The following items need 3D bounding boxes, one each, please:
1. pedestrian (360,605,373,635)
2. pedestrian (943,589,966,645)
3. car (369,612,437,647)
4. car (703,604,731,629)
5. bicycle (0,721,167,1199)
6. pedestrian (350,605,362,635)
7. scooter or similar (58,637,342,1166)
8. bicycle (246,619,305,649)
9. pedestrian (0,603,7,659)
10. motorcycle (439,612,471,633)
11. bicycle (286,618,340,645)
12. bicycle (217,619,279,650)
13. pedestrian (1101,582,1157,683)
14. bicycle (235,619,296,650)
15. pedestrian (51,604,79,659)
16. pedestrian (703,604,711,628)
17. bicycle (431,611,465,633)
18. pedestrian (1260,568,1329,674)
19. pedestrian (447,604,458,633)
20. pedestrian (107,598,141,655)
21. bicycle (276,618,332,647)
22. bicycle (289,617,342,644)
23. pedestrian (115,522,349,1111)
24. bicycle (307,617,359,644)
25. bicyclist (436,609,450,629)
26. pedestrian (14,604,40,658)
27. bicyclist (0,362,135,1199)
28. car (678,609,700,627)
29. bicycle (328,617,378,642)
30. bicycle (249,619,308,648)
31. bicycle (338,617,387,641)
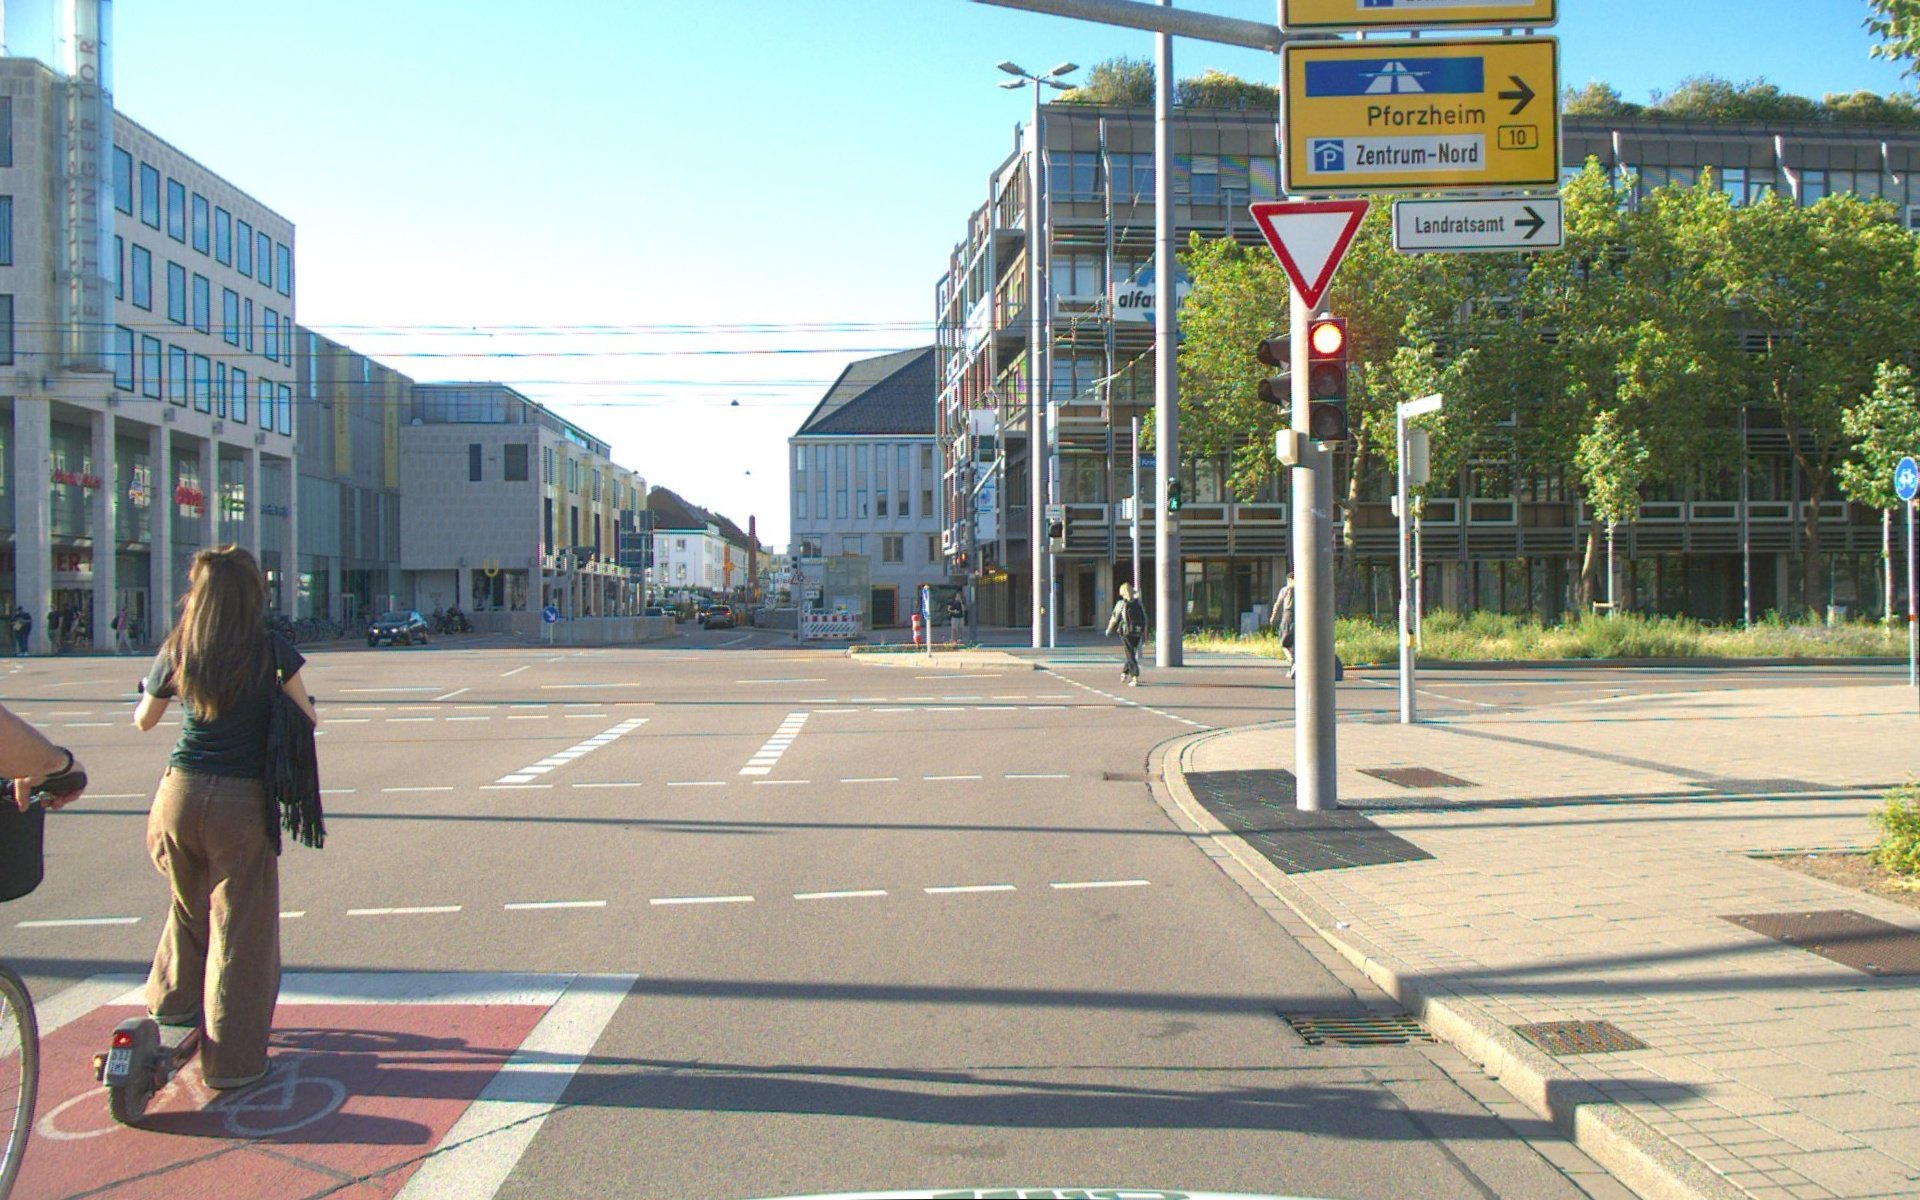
[{"bbox_3d":[-34.226,1.162,95.391,0.544,1.709,0.606,1,0,-11],"label":"pedestrian"},{"bbox_3d":[-0.199,0.588,57.294,0.772,1.923,0.644,1,-1,-1],"label":"pedestrian"},{"bbox_3d":[-23.374,1.218,69.482,1.597,1.365,3.998,-3,0,-3],"label":"car"},{"bbox_3d":[-15.820,1.076,107.943,1.705,1.558,3.849,1,0,-8],"label":"car"},{"bbox_3d":[-2.079,0.867,2.924,0.475,1.176,1.831,1,0,-1],"label":"bicycle"},{"bbox_3d":[-34.778,1.156,95.245,0.560,1.709,0.614,1,0,-10],"label":"pedestrian"},{"bbox_3d":[-2.176,0.784,4.857,0.538,1.316,1.189,1,0,-15],"label":"scooter or similar"},{"bbox_3d":[-29.287,1.448,70.754,2.260,1.244,0.611,0,0,-3],"label":"bicycle"},{"bbox_3d":[-33.188,1.052,56.844,0.706,1.918,0.780,1,-1,-28],"label":"pedestrian"},{"bbox_3d":[-29.756,1.344,97.473,1.775,1.228,0.509,1,0,-16],"label":"motorcycle"},{"bbox_3d":[-30.061,1.462,76.846,2.260,1.244,0.611,0,0,-3],"label":"bicycle"},{"bbox_3d":[-29.330,1.436,68.114,2.260,1.244,0.611,0,0,-3],"label":"bicycle"},{"bbox_3d":[2.585,0.498,25.349,0.772,1.518,0.644,1,-1,-1],"label":"pedestrian"},{"bbox_3d":[-29.122,1.445,69.400,2.260,1.244,0.611,0,0,-3],"label":"bicycle"},{"bbox_3d":[-31.168,1.079,57.601,0.788,1.876,0.854,0,0,-33],"label":"pedestrian"},{"bbox_3d":[-17.918,1.135,116.947,0.511,1.709,0.582,1,0,-8],"label":"pedestrian"},{"bbox_3d":[-29.320,1.240,94.786,1.794,1.228,0.504,1,0,-41],"label":"bicycle"},{"bbox_3d":[5.465,0.345,27.080,0.861,1.694,0.964,1,-1,-5],"label":"pedestrian"},{"bbox_3d":[-30.094,1.089,98.076,0.512,1.709,0.581,1,0,-14],"label":"pedestrian"},{"bbox_3d":[-30.091,0.956,59.543,0.868,2.049,0.771,1,-1,-12],"label":"pedestrian"},{"bbox_3d":[-29.600,1.460,74.695,2.260,1.244,0.611,0,0,-3],"label":"bicycle"},{"bbox_3d":[-30.710,1.460,78.816,2.260,1.244,0.611,0,0,-3],"label":"bicycle"},{"bbox_3d":[-2.185,0.615,5.025,0.540,1.661,0.569,1,-1,-16],"label":"pedestrian"},{"bbox_3d":[-30.330,1.472,80.048,2.260,1.244,0.611,0,0,-3],"label":"bicycle"},{"bbox_3d":[-29.564,1.070,94.588,0.619,1.103,0.504,1,0,-41],"label":"bicyclist"},{"bbox_3d":[-32.859,1.087,58.261,0.787,1.876,0.856,0,0,-29],"label":"pedestrian"},{"bbox_3d":[-1.976,0.463,2.849,0.647,1.750,0.865,1,-1,-1],"label":"bicyclist"},{"bbox_3d":[-26.712,1.733,163.104,1.762,1.686,3.996,1,0,-5],"label":"car"},{"bbox_3d":[-30.923,1.481,84.265,2.260,1.244,0.611,0,0,-3],"label":"bicycle"},{"bbox_3d":[-29.500,1.448,71.630,2.260,1.244,0.611,0,0,-3],"label":"bicycle"},{"bbox_3d":[-30.811,1.487,85.335,2.260,1.244,0.611,0,0,-3],"label":"bicycle"}]
